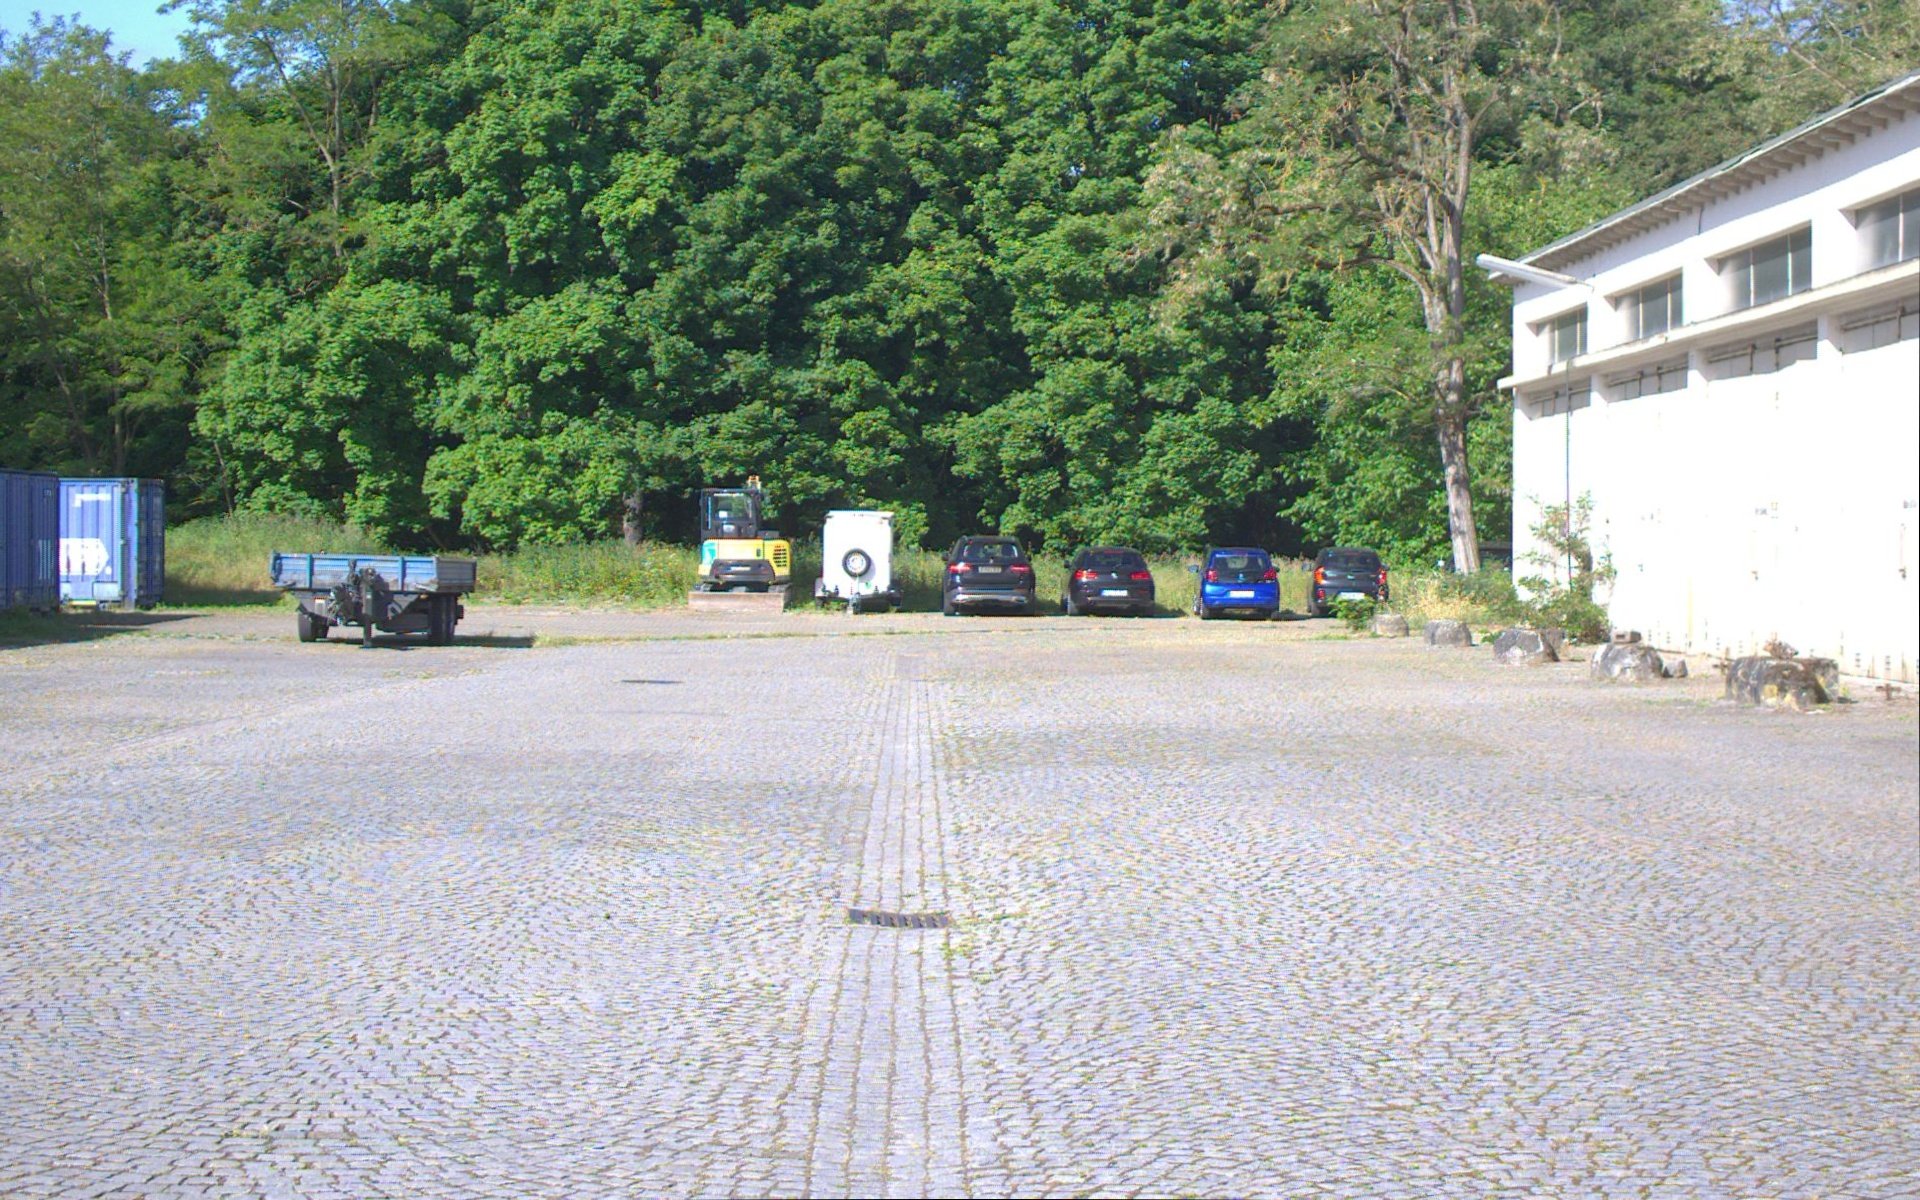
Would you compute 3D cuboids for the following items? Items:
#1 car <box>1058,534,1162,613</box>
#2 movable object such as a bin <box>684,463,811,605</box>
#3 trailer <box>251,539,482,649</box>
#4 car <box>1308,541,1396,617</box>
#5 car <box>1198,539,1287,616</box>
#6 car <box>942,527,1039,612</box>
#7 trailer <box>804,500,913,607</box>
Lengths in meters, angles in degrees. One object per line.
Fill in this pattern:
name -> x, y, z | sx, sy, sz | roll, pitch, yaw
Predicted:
car -> 3.086, -0.578, 71.408 | 1.863, 1.465, 4.296 | 2, 2, -1
movable object such as a bin -> -4.519, -1.469, 73.957 | 2.306, 2.887, 5.751 | 2, 2, 0
trailer -> -9.088, -0.142, 53.264 | 2.705, 1.460, 6.248 | 2, 2, -2
car -> 8.287, -0.469, 72.789 | 1.744, 1.431, 4.182 | 2, 2, 6
car -> 5.854, -0.495, 71.365 | 1.744, 1.431, 4.182 | 2, 2, 4
car -> 0.601, -0.664, 71.025 | 1.863, 1.584, 4.296 | 2, 2, -1
trailer -> -2.134, -1.037, 73.384 | 2.193, 2.087, 5.752 | 2, 2, -1
